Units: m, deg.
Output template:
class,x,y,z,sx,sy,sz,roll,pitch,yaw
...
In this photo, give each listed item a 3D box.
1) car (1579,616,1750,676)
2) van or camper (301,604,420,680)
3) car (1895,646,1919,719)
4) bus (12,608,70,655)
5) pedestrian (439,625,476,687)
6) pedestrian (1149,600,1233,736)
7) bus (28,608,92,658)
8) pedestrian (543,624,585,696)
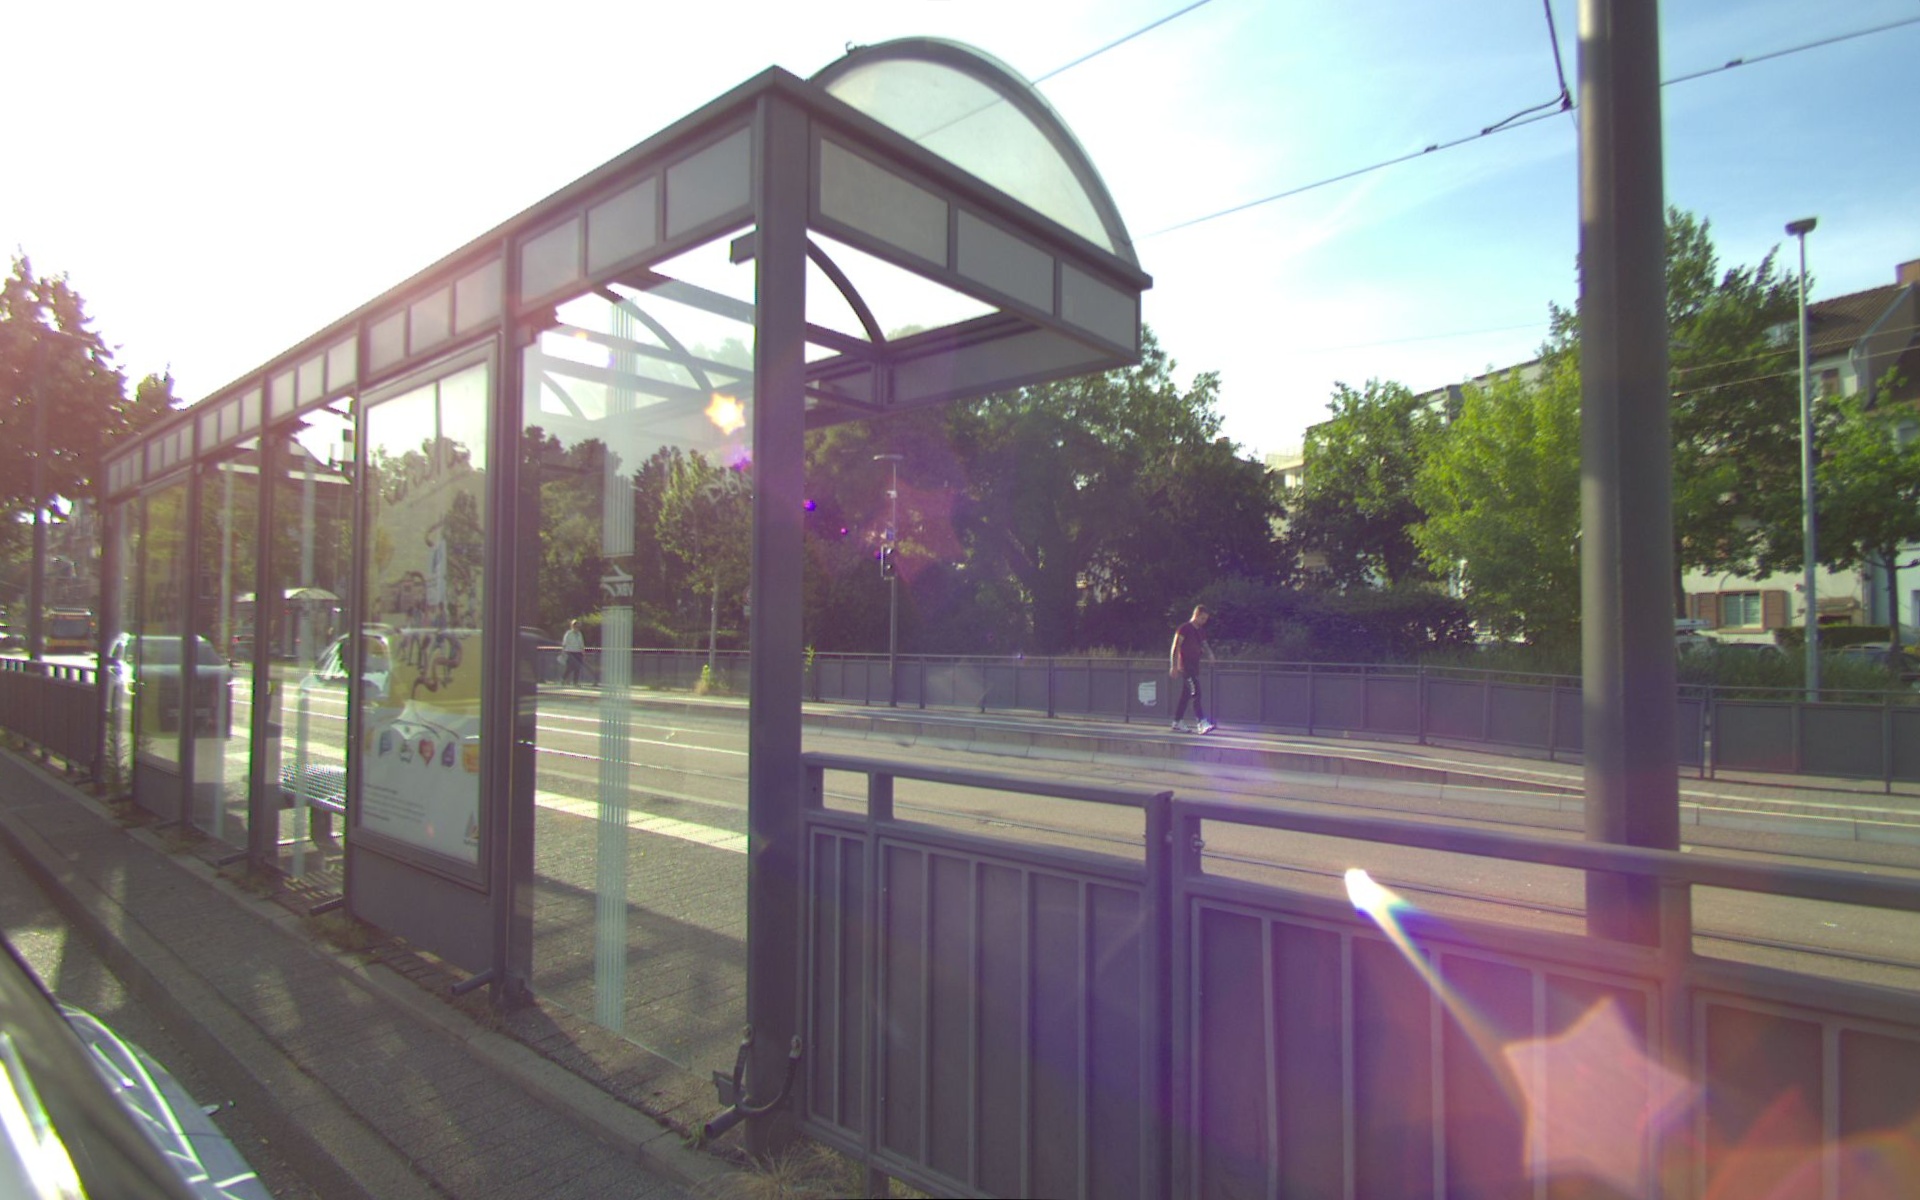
class,x,y,z,sx,sy,sz,roll,pitch,yaw
car,18.636,1.229,26.784,3.930,1.497,1.854,1,-3,-22
van or camper,-25.554,1.690,43.032,6.408,2.990,2.494,-1,-1,41
car,20.320,1.617,20.014,3.935,1.409,2.004,2,-3,-37
bus,-73.050,2.446,80.351,9.257,3.461,2.405,-1,-1,41
pedestrian,-14.105,1.582,28.424,0.618,1.697,0.613,-2,-7,41
pedestrian,2.988,0.875,13.107,0.877,1.697,0.547,-2,-7,41
bus,-66.092,2.345,74.208,9.257,3.461,2.405,-1,-1,41
pedestrian,-9.582,1.459,24.496,0.618,1.697,0.613,-2,-7,41
